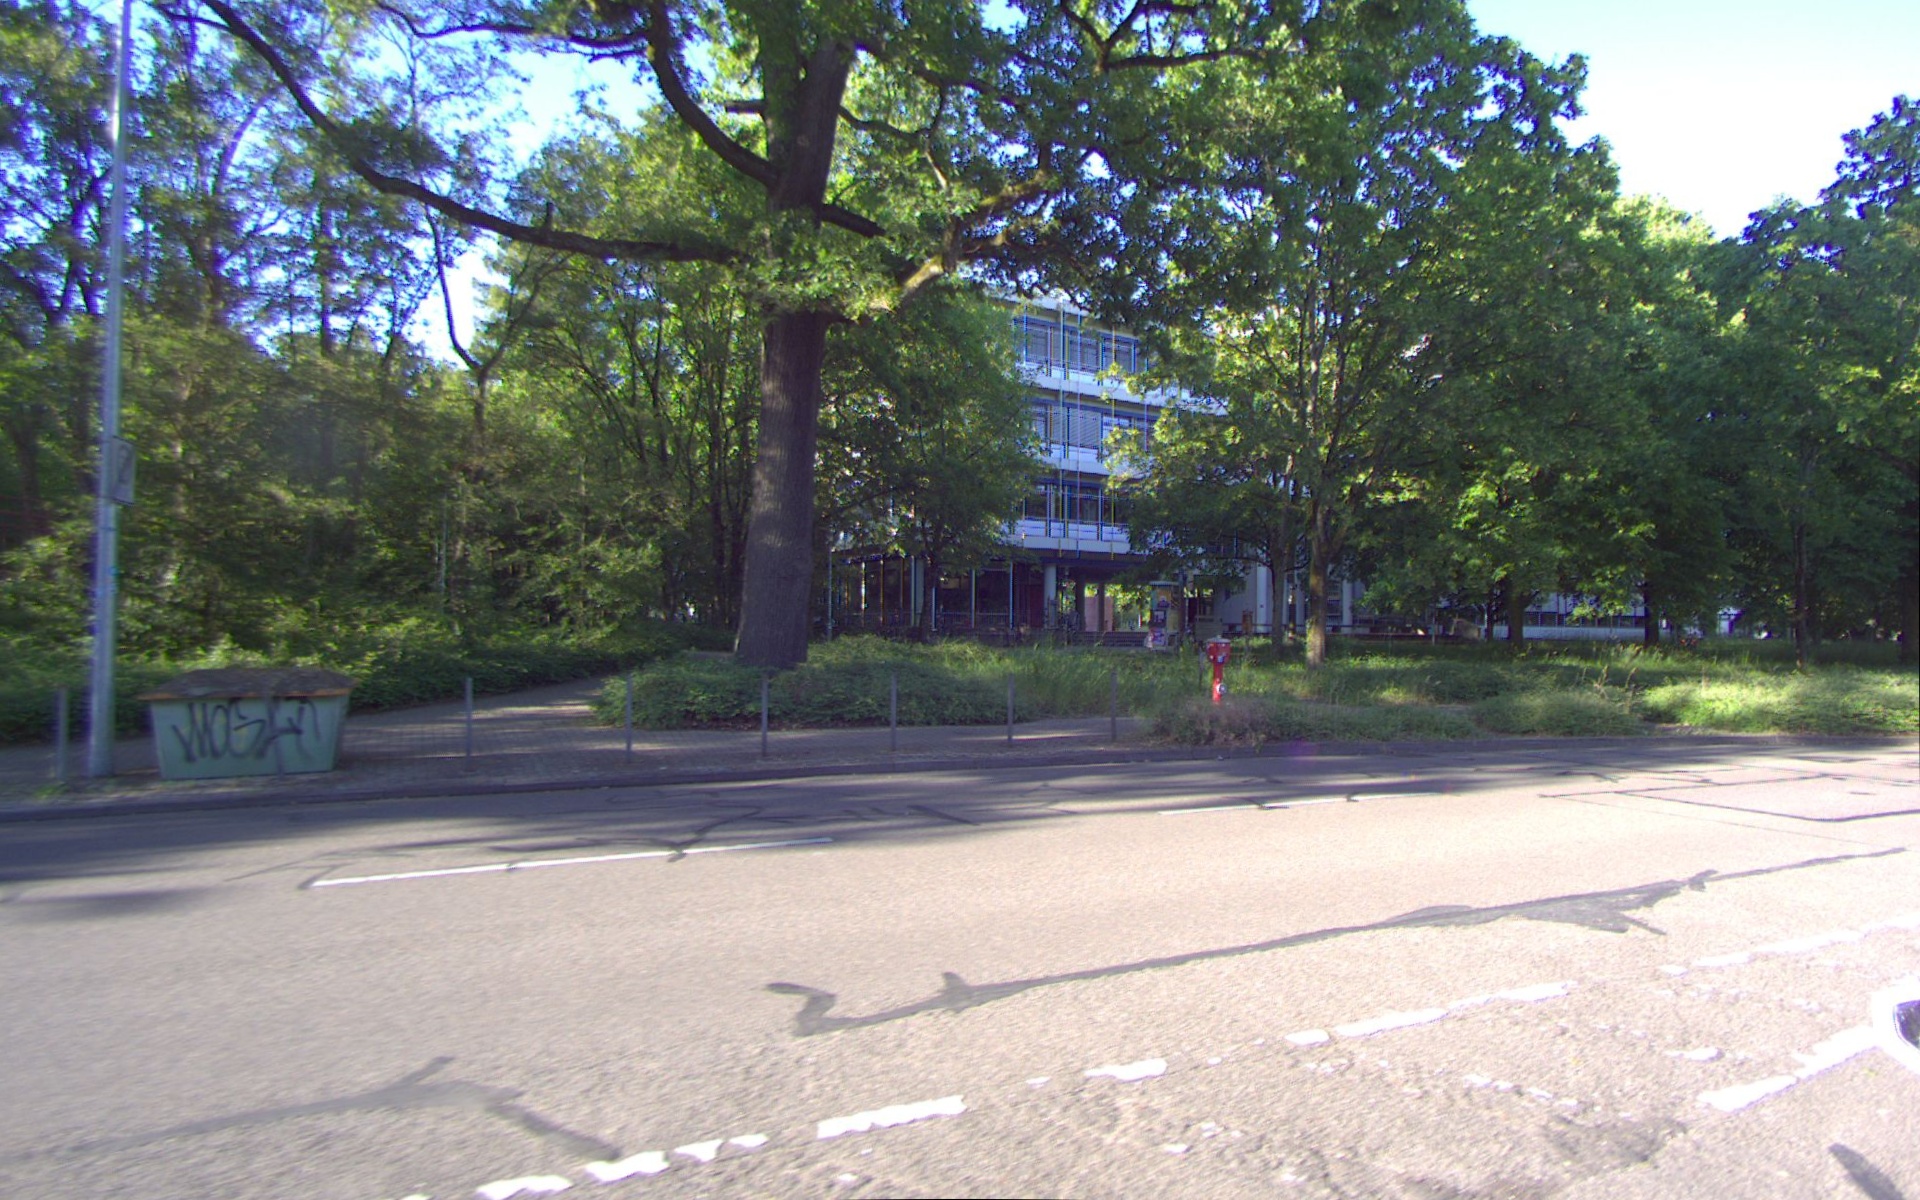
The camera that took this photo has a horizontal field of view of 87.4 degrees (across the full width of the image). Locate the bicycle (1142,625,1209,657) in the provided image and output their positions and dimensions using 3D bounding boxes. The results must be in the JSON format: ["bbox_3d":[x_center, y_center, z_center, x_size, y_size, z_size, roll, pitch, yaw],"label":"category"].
[{"bbox_3d":[7.915,1.488,36.979,2.380,1.086,0.537,1,2,9],"label":"bicycle"}]

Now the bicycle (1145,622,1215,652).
[{"bbox_3d":[8.406,1.419,38.390,2.589,1.086,0.535,1,3,-13],"label":"bicycle"}]
